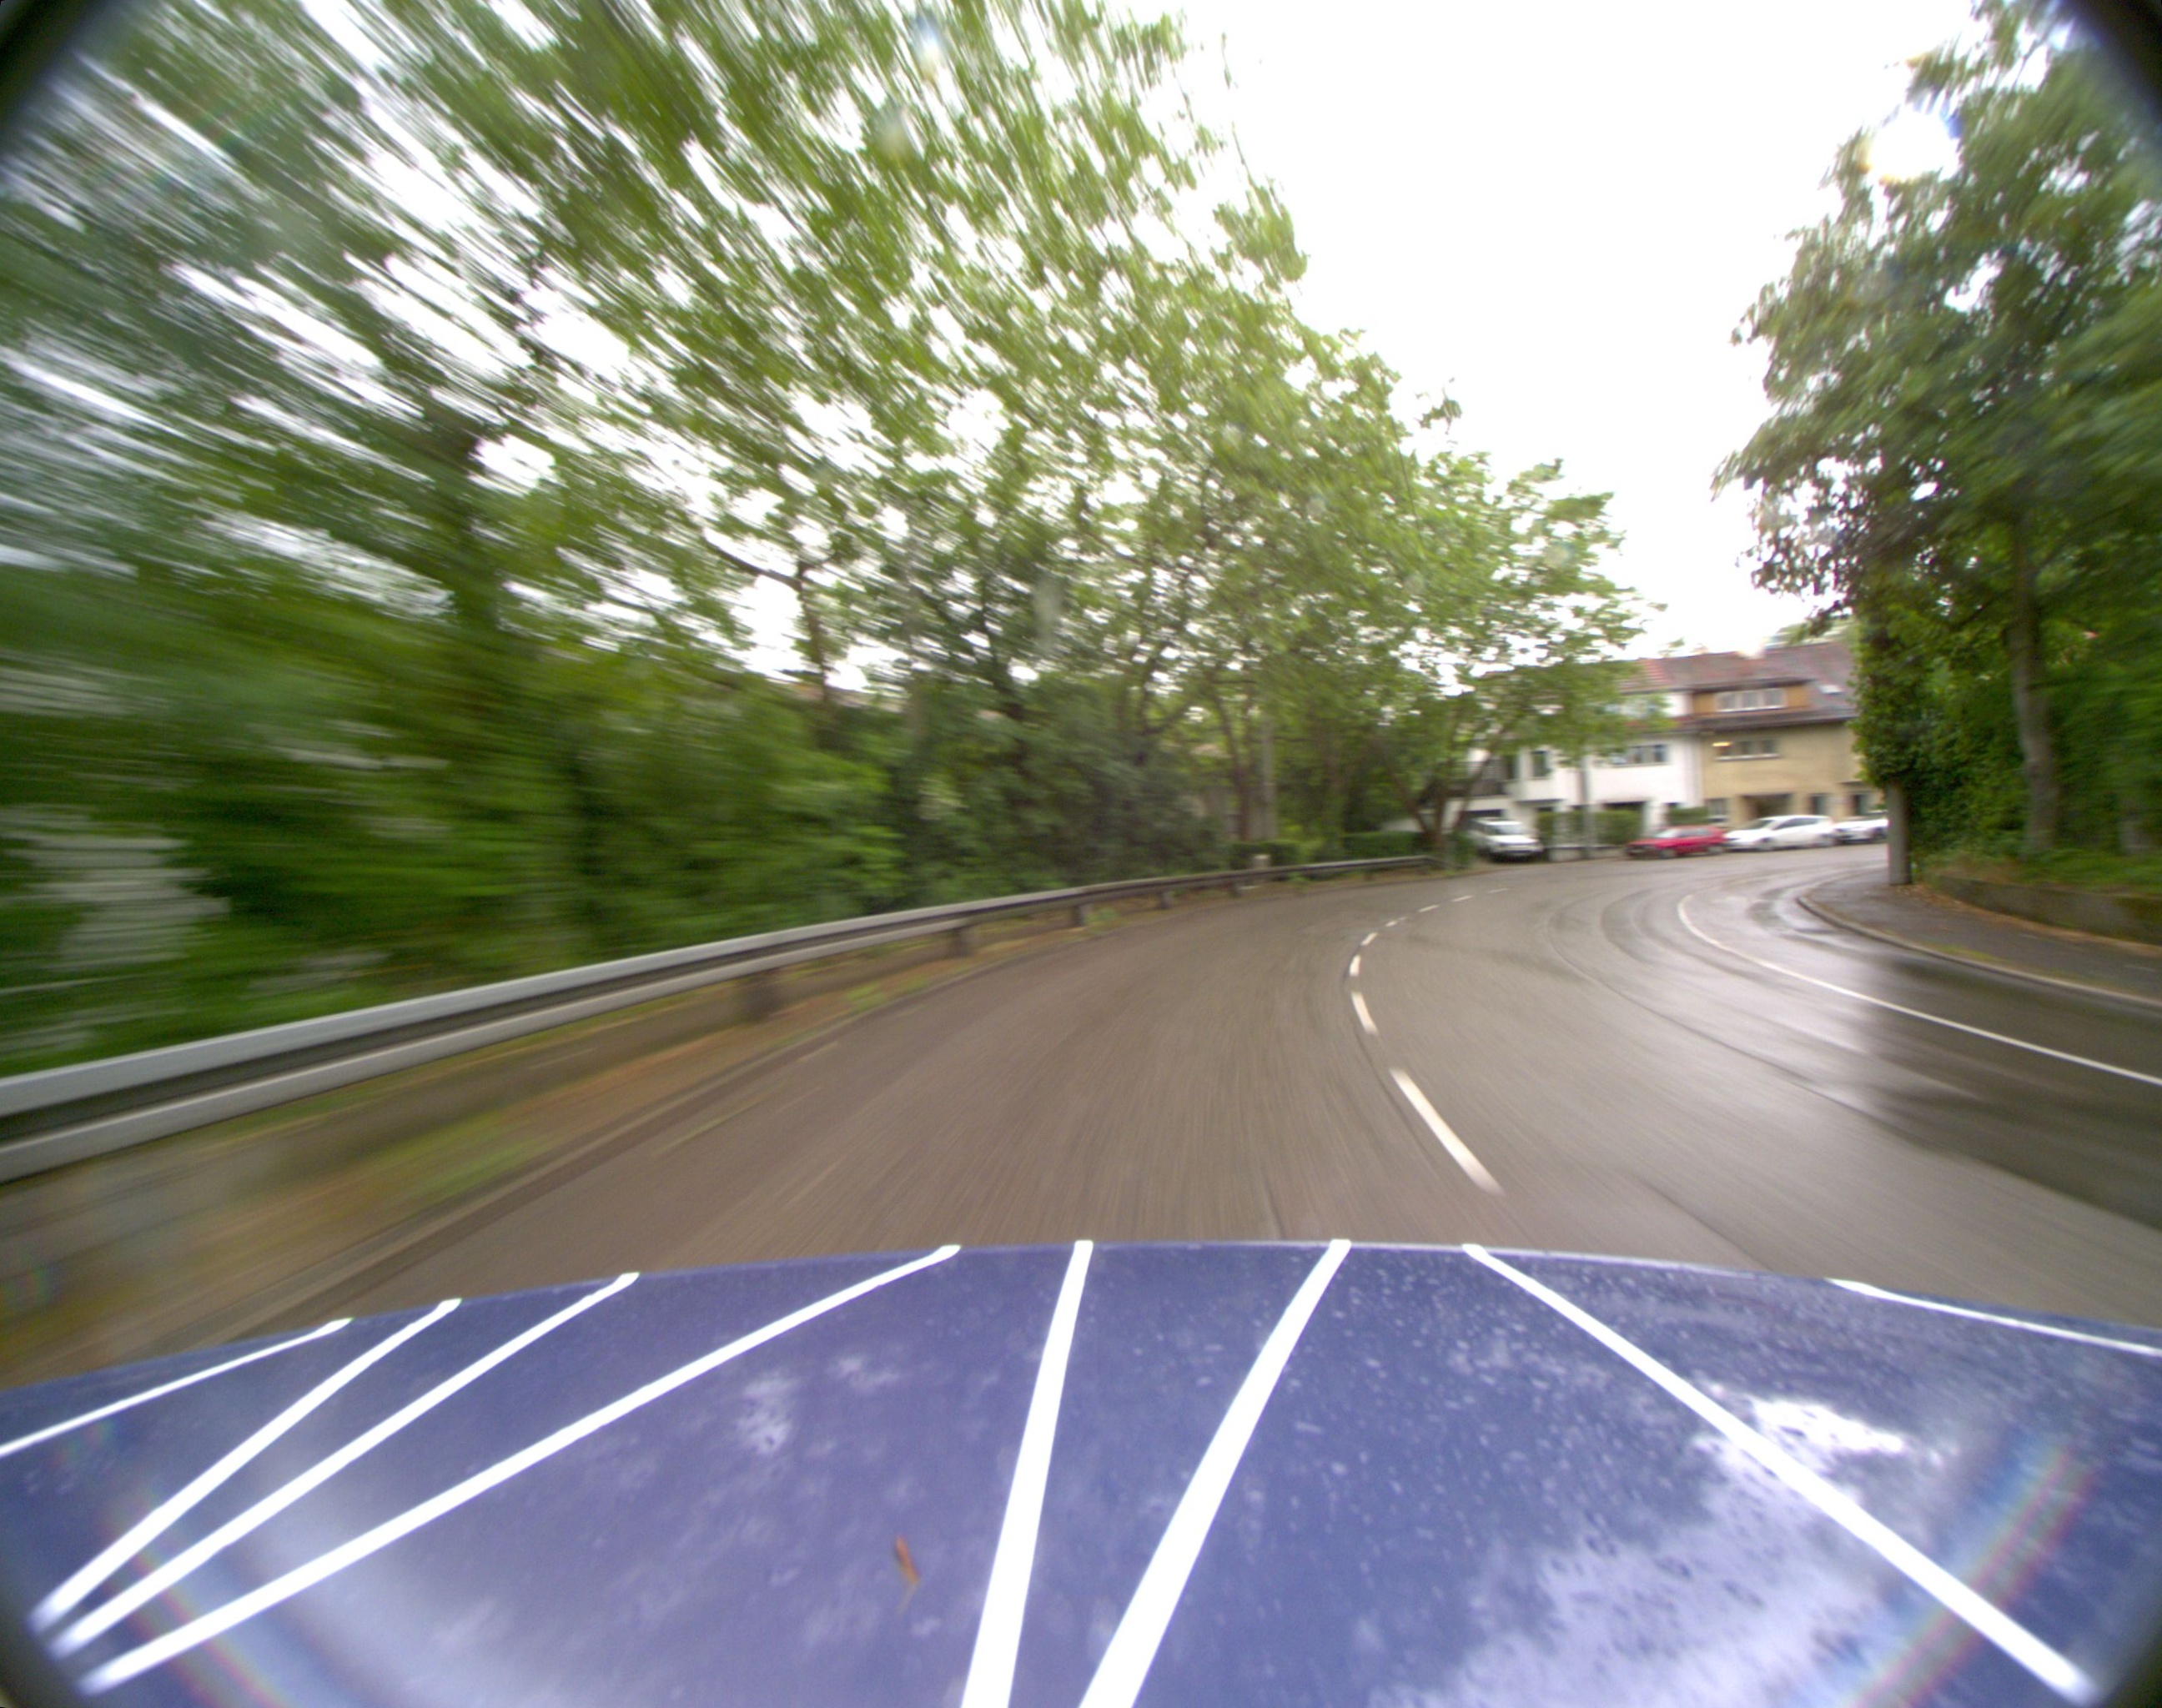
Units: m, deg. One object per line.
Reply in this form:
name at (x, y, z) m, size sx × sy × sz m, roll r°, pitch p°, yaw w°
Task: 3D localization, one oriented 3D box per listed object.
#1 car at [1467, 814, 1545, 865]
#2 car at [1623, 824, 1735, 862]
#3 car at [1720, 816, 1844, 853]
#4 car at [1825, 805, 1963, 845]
car at (20.831, -0.777, 37.420) m, size 1.955 × 1.916 × 4.265 m, roll -3°, pitch 7°, yaw 9°
car at (26.471, -0.505, 33.689) m, size 4.000 × 1.412 × 1.633 m, roll -3°, pitch 2°, yaw -10°
car at (31.417, -0.881, 34.128) m, size 3.997 × 1.412 × 1.634 m, roll -3°, pitch 2°, yaw 0°
car at (35.964, -1.288, 33.702) m, size 4.085 × 1.508 × 1.635 m, roll -3°, pitch 2°, yaw 7°
